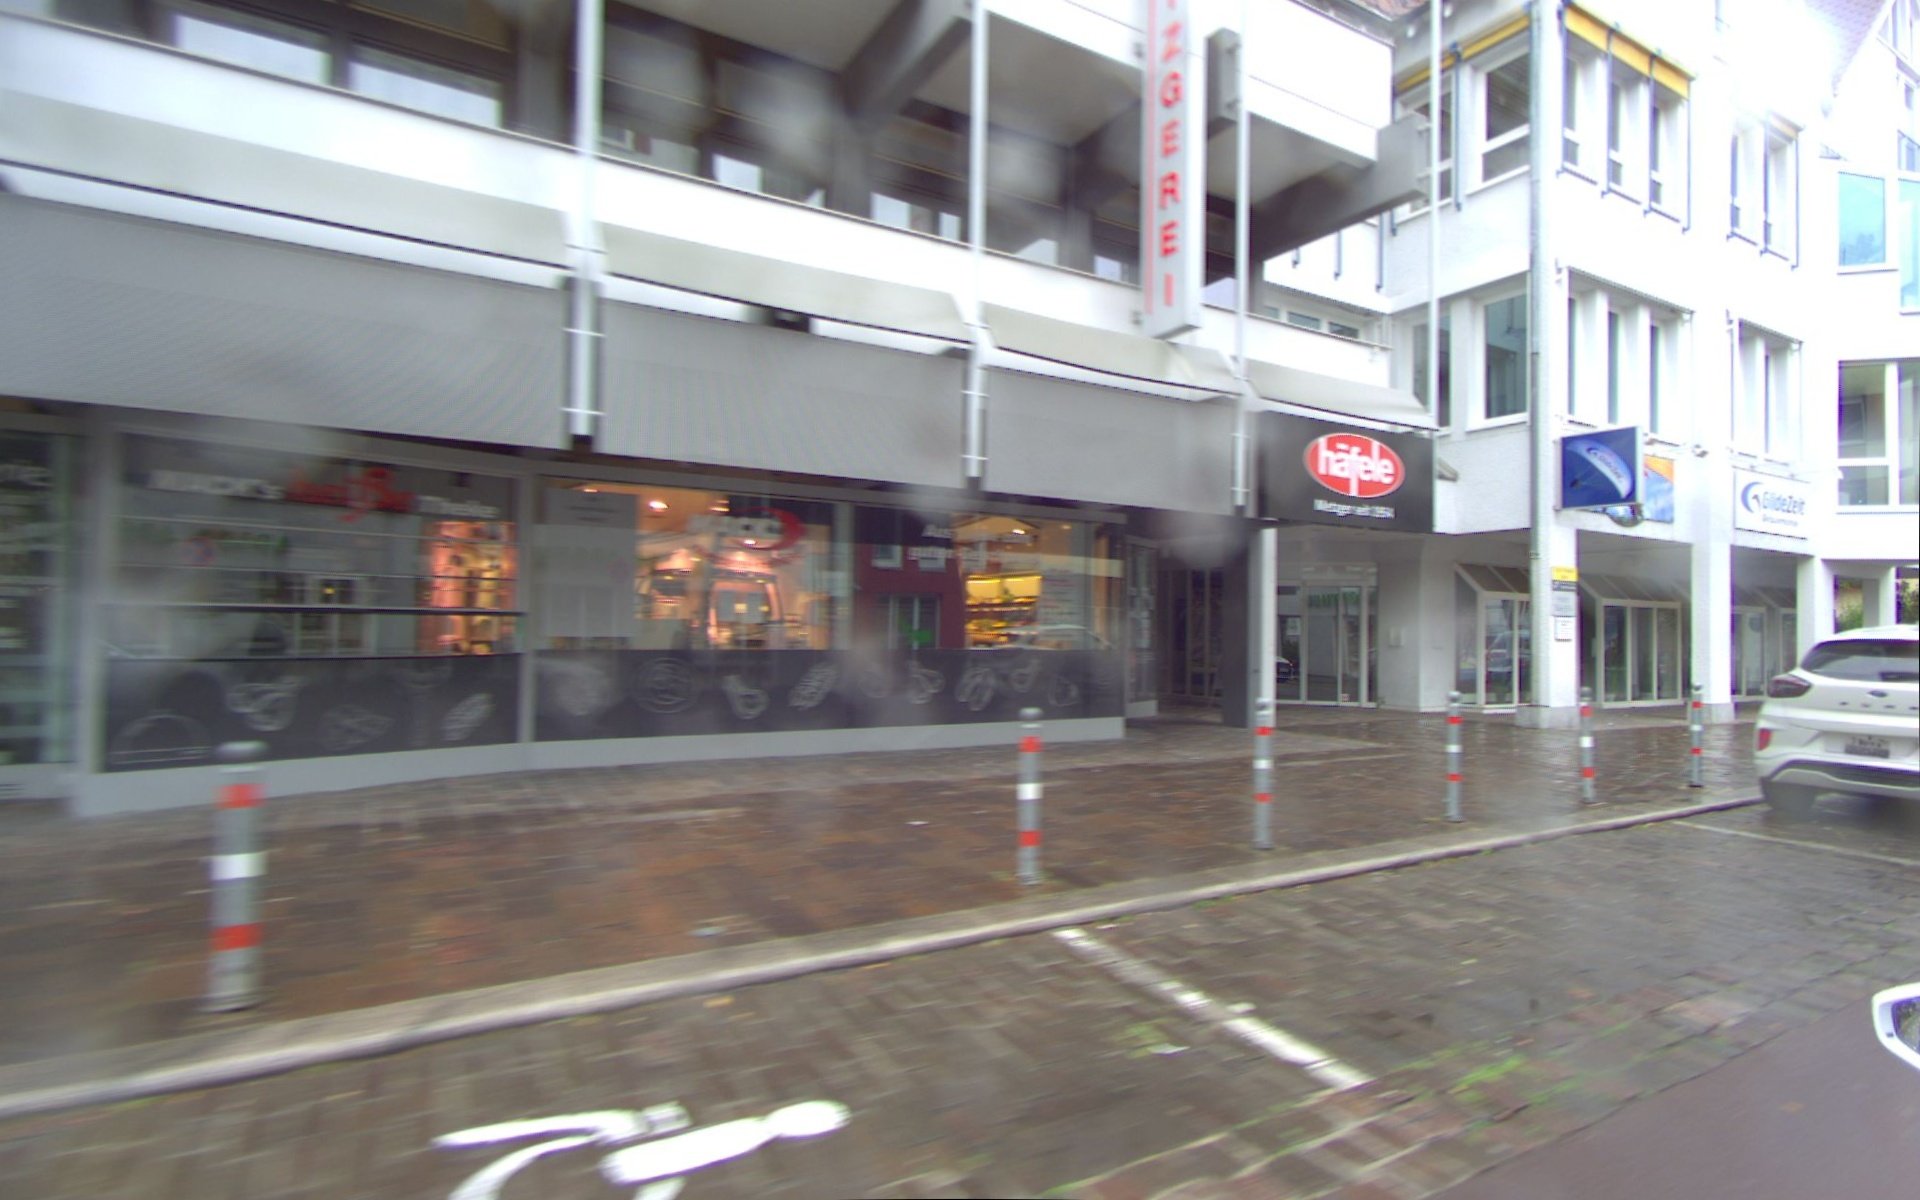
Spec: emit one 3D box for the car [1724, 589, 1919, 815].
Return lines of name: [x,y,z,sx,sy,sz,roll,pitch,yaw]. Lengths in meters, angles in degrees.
car: [8.250,0.834,8.272,3.955,1.571,1.782,4,-2,-31]

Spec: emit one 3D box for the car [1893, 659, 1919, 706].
car: [30.712,2.627,31.246,3.787,1.407,1.670,4,-3,-34]
